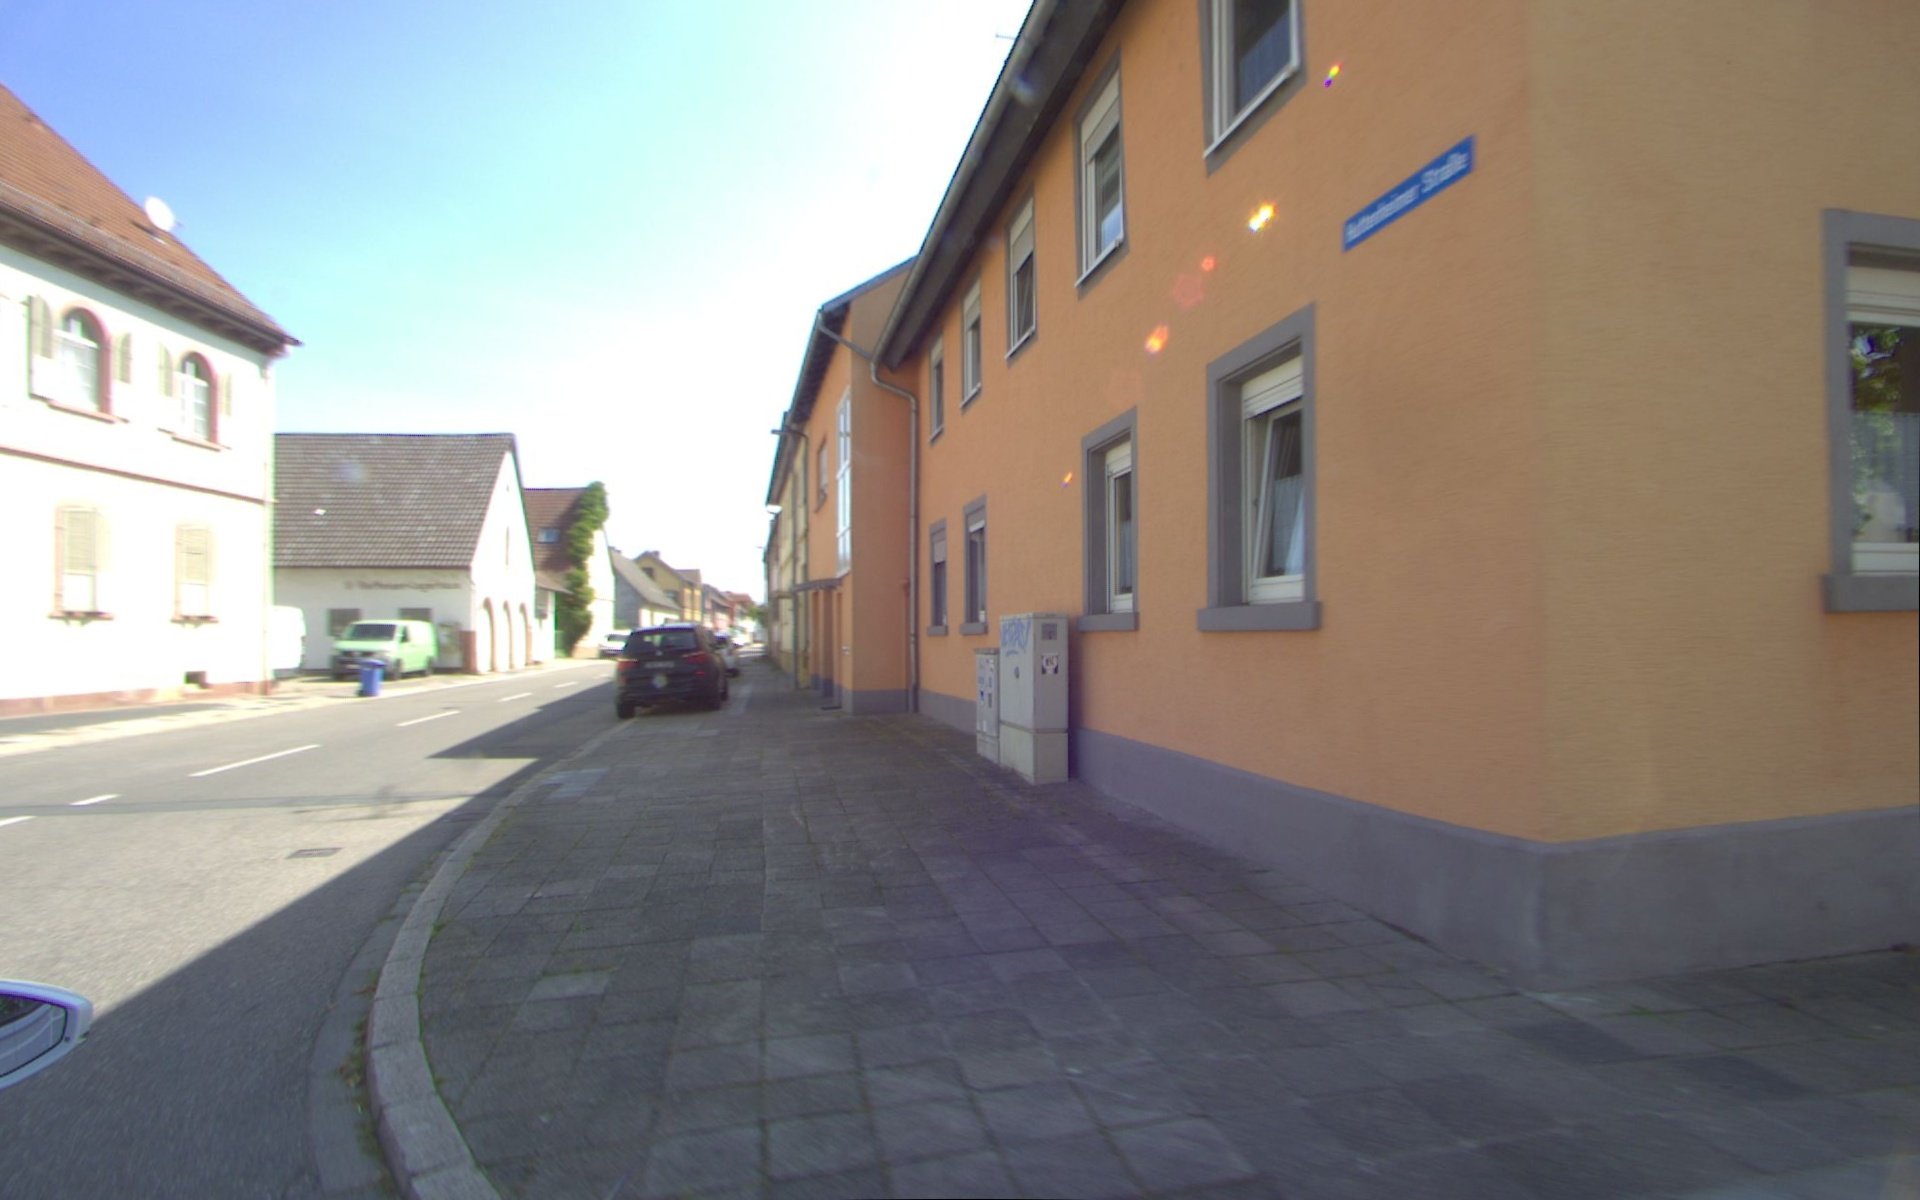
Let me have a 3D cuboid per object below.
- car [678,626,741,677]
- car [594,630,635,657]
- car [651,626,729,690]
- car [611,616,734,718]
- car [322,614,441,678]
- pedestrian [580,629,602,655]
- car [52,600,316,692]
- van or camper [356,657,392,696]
[{"bbox_3d":[-8.600,1.756,34.625,1.963,1.638,3.998,0,-2,-12],"label":"car"},{"bbox_3d":[-21.559,2.693,62.618,1.827,1.668,4.427,0,-2,-12],"label":"car"},{"bbox_3d":[-7.892,1.661,29.558,1.869,1.750,4.247,1,-2,-10],"label":"car"},{"bbox_3d":[-5.636,1.254,20.212,1.815,1.724,5.179,-2,-1,-10],"label":"car"},{"bbox_3d":[-19.364,1.521,33.752,1.962,1.989,4.668,0,-2,-10],"label":"car"},{"bbox_3d":[-23.224,2.644,63.066,1.119,1.571,1.016,1,-1,-12],"label":"pedestrian"},{"bbox_3d":[-19.821,1.173,25.763,5.091,2.225,2.123,0,-1,-1],"label":"car"},{"bbox_3d":[-14.910,1.932,25.481,0.580,0.963,0.600,0,-1,-5],"label":"van or camper"}]
